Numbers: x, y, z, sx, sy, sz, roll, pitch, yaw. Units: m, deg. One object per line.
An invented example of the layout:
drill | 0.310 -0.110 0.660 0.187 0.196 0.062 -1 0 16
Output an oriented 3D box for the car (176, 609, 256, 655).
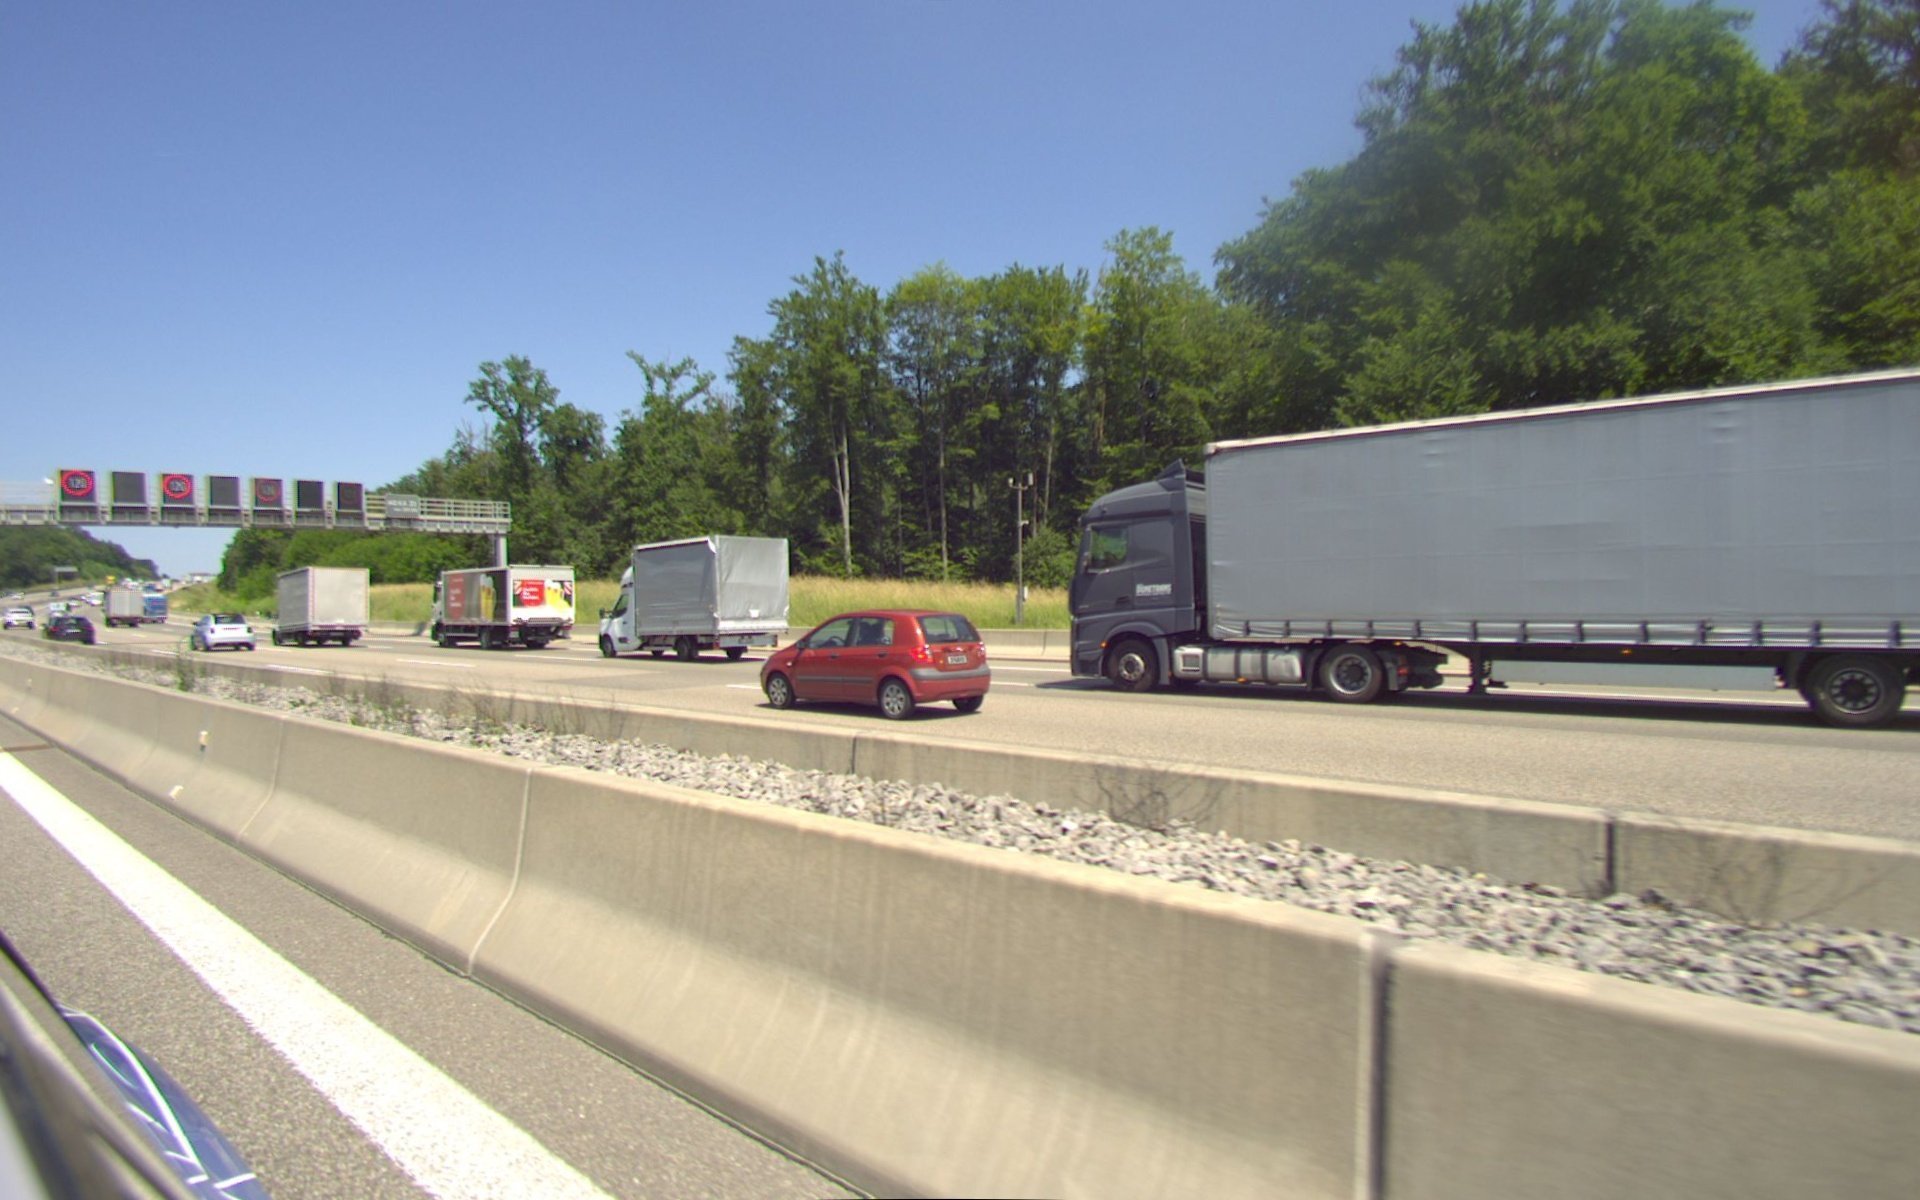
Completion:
car | -30.677 1.292 41.676 5.118 1.776 1.721 -1 -1 43

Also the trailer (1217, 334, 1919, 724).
trailer | 10.469 -0.764 13.028 13.940 4.295 2.837 -1 -1 38

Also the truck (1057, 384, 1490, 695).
truck | 5.141 -0.800 17.180 6.442 4.322 2.849 -1 -1 37

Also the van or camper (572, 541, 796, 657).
van or camper | -8.661 -0.079 31.075 8.094 3.148 2.735 1 1 42

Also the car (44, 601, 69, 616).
car | -127.901 1.205 143.243 7.143 2.071 2.171 0 0 44

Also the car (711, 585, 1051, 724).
car | -1.329 0.710 15.207 5.029 1.741 2.263 -1 -1 42

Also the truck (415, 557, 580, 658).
truck | -19.133 0.221 41.516 9.242 3.724 2.838 1 1 43

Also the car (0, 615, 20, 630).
car | -97.066 2.300 102.776 5.222 1.453 2.025 -1 -1 44

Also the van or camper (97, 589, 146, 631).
van or camper | -76.948 0.896 92.796 7.757 3.706 2.404 -1 -1 43

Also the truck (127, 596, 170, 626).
truck | -87.938 1.145 109.642 5.848 3.015 2.819 1 1 44

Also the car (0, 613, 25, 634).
car | -80.754 1.978 85.710 5.346 1.750 1.966 -1 0 44

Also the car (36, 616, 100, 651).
car | -43.984 1.624 49.847 4.845 1.602 1.971 -1 -1 44

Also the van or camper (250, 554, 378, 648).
van or camper | -29.305 -0.015 45.728 8.213 3.867 2.800 1 1 42

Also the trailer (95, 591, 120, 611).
trailer | -153.676 0.148 182.434 2.621 3.561 10.501 -1 1 -45

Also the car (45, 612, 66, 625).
car | -107.050 2.133 119.738 1.680 1.412 4.355 0 0 -44
